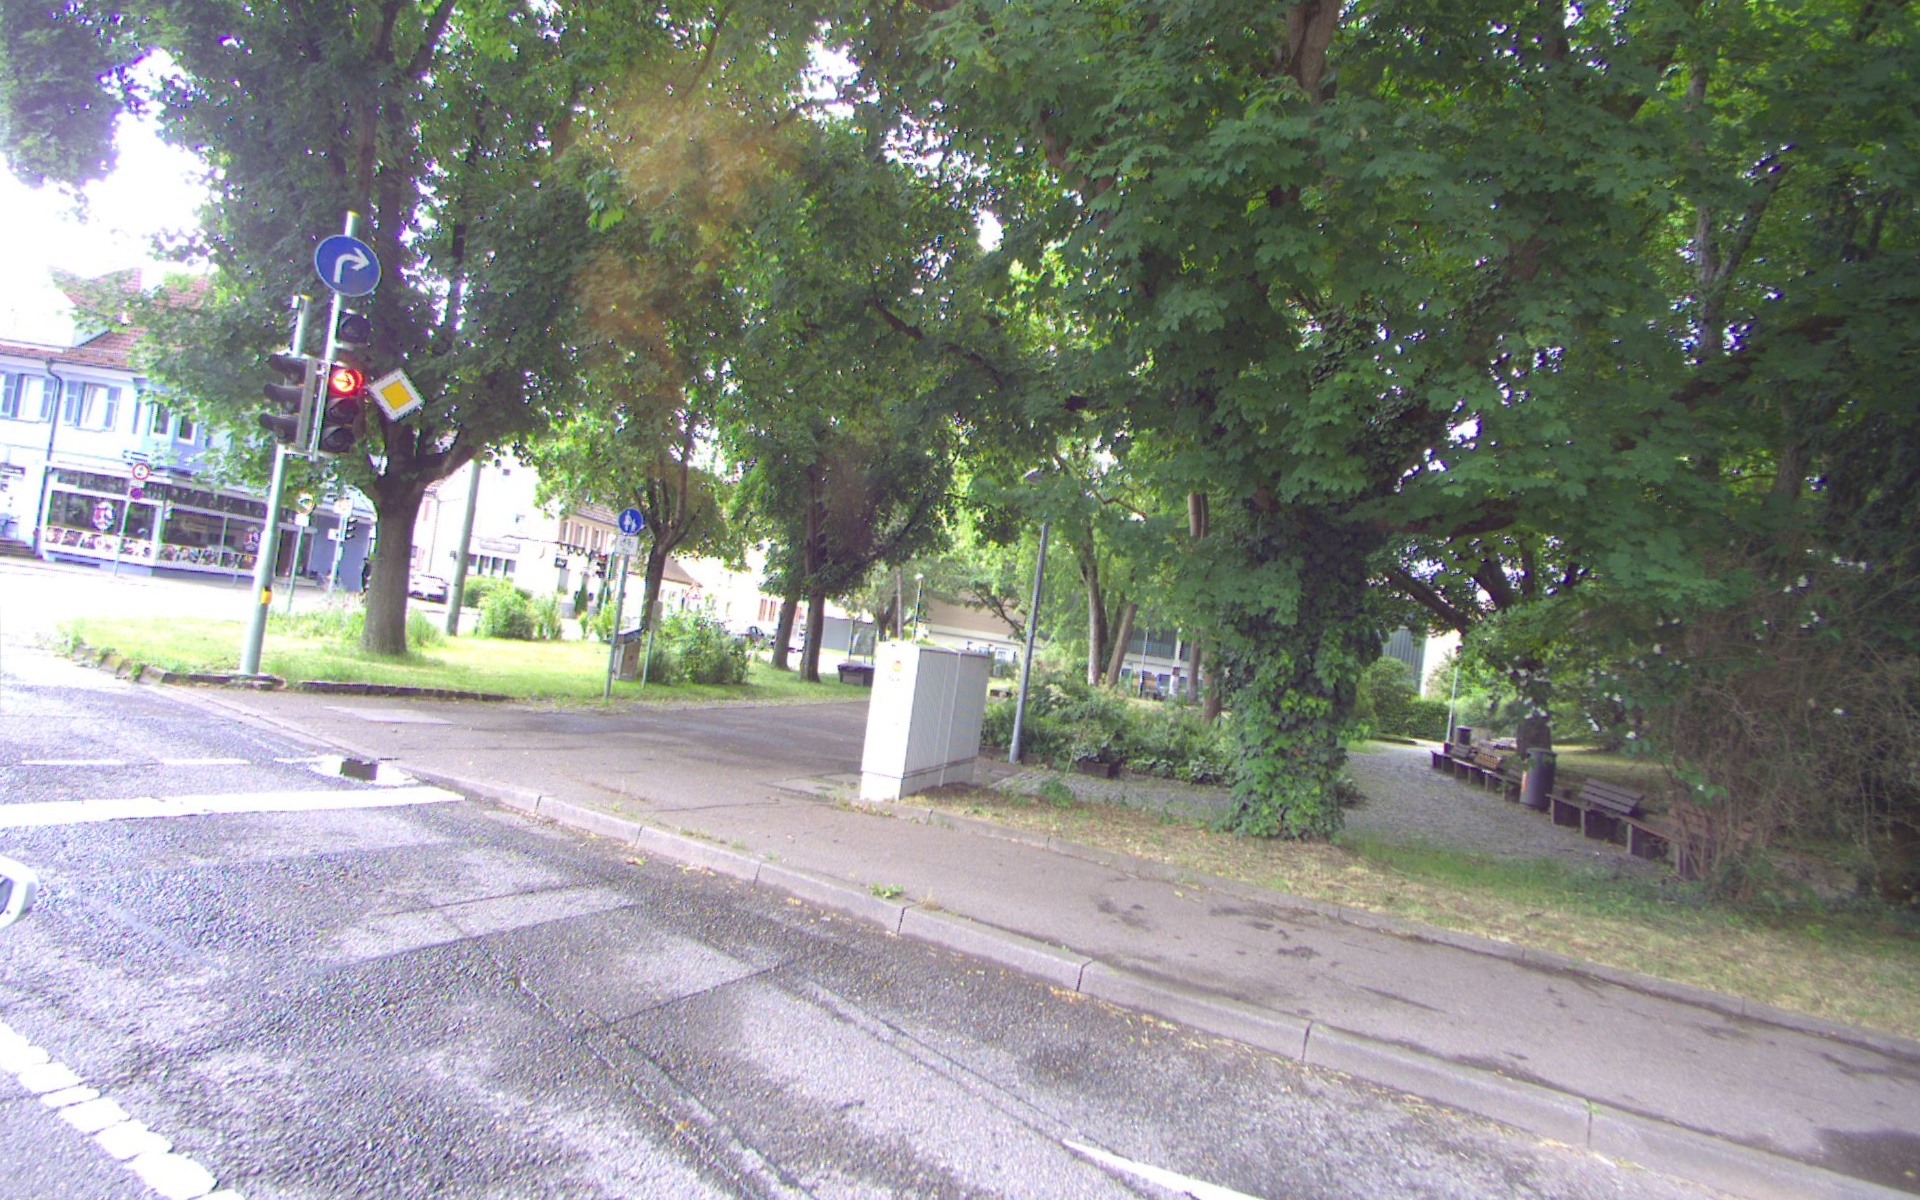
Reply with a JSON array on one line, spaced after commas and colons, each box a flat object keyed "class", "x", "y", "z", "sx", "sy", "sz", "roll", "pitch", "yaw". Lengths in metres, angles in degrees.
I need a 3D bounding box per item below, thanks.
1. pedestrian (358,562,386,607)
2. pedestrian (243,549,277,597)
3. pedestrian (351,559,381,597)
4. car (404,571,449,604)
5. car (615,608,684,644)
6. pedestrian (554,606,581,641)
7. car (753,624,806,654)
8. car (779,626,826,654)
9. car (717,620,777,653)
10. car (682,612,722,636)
[{"class": "pedestrian", "x": -21.854, "y": -0.563, "z": 37.422, "sx": 0.688, "sy": 1.578, "sz": 0.662, "roll": 7, "pitch": -1, "yaw": -27}, {"class": "pedestrian", "x": -24.727, "y": -0.960, "z": 35.529, "sx": 0.725, "sy": 1.578, "sz": 0.763, "roll": 7, "pitch": -1, "yaw": -27}, {"class": "pedestrian", "x": -26.850, "y": -0.982, "z": 45.488, "sx": 0.732, "sy": 1.578, "sz": 0.673, "roll": 6, "pitch": -1, "yaw": 17}, {"class": "car", "x": -28.178, "y": -0.695, "z": 53.159, "sx": 1.870, "sy": 1.406, "sz": 3.589, "roll": 9, "pitch": -2, "yaw": -28}, {"class": "car", "x": -13.560, "y": 1.156, "z": 44.035, "sx": 1.436, "sy": 1.282, "sz": 3.014, "roll": 7, "pitch": -2, "yaw": 13}, {"class": "pedestrian", "x": -12.952, "y": 0.781, "z": 33.187, "sx": 0.506, "sy": 1.093, "sz": 0.507, "roll": 6, "pitch": -1, "yaw": 17}, {"class": "car", "x": -10.704, "y": 2.335, "z": 59.907, "sx": 1.618, "sy": 1.474, "sz": 3.740, "roll": 7, "pitch": -2, "yaw": 13}, {"class": "car", "x": -10.278, "y": 2.652, "z": 66.038, "sx": 1.618, "sy": 1.474, "sz": 3.740, "roll": 7, "pitch": -2, "yaw": 13}, {"class": "car", "x": -11.567, "y": 2.012, "z": 54.933, "sx": 1.618, "sy": 1.474, "sz": 3.740, "roll": 7, "pitch": -2, "yaw": 13}, {"class": "car", "x": -19.040, "y": 1.808, "z": 74.433, "sx": 1.736, "sy": 1.463, "sz": 3.865, "roll": 7, "pitch": -2, "yaw": 2}]
